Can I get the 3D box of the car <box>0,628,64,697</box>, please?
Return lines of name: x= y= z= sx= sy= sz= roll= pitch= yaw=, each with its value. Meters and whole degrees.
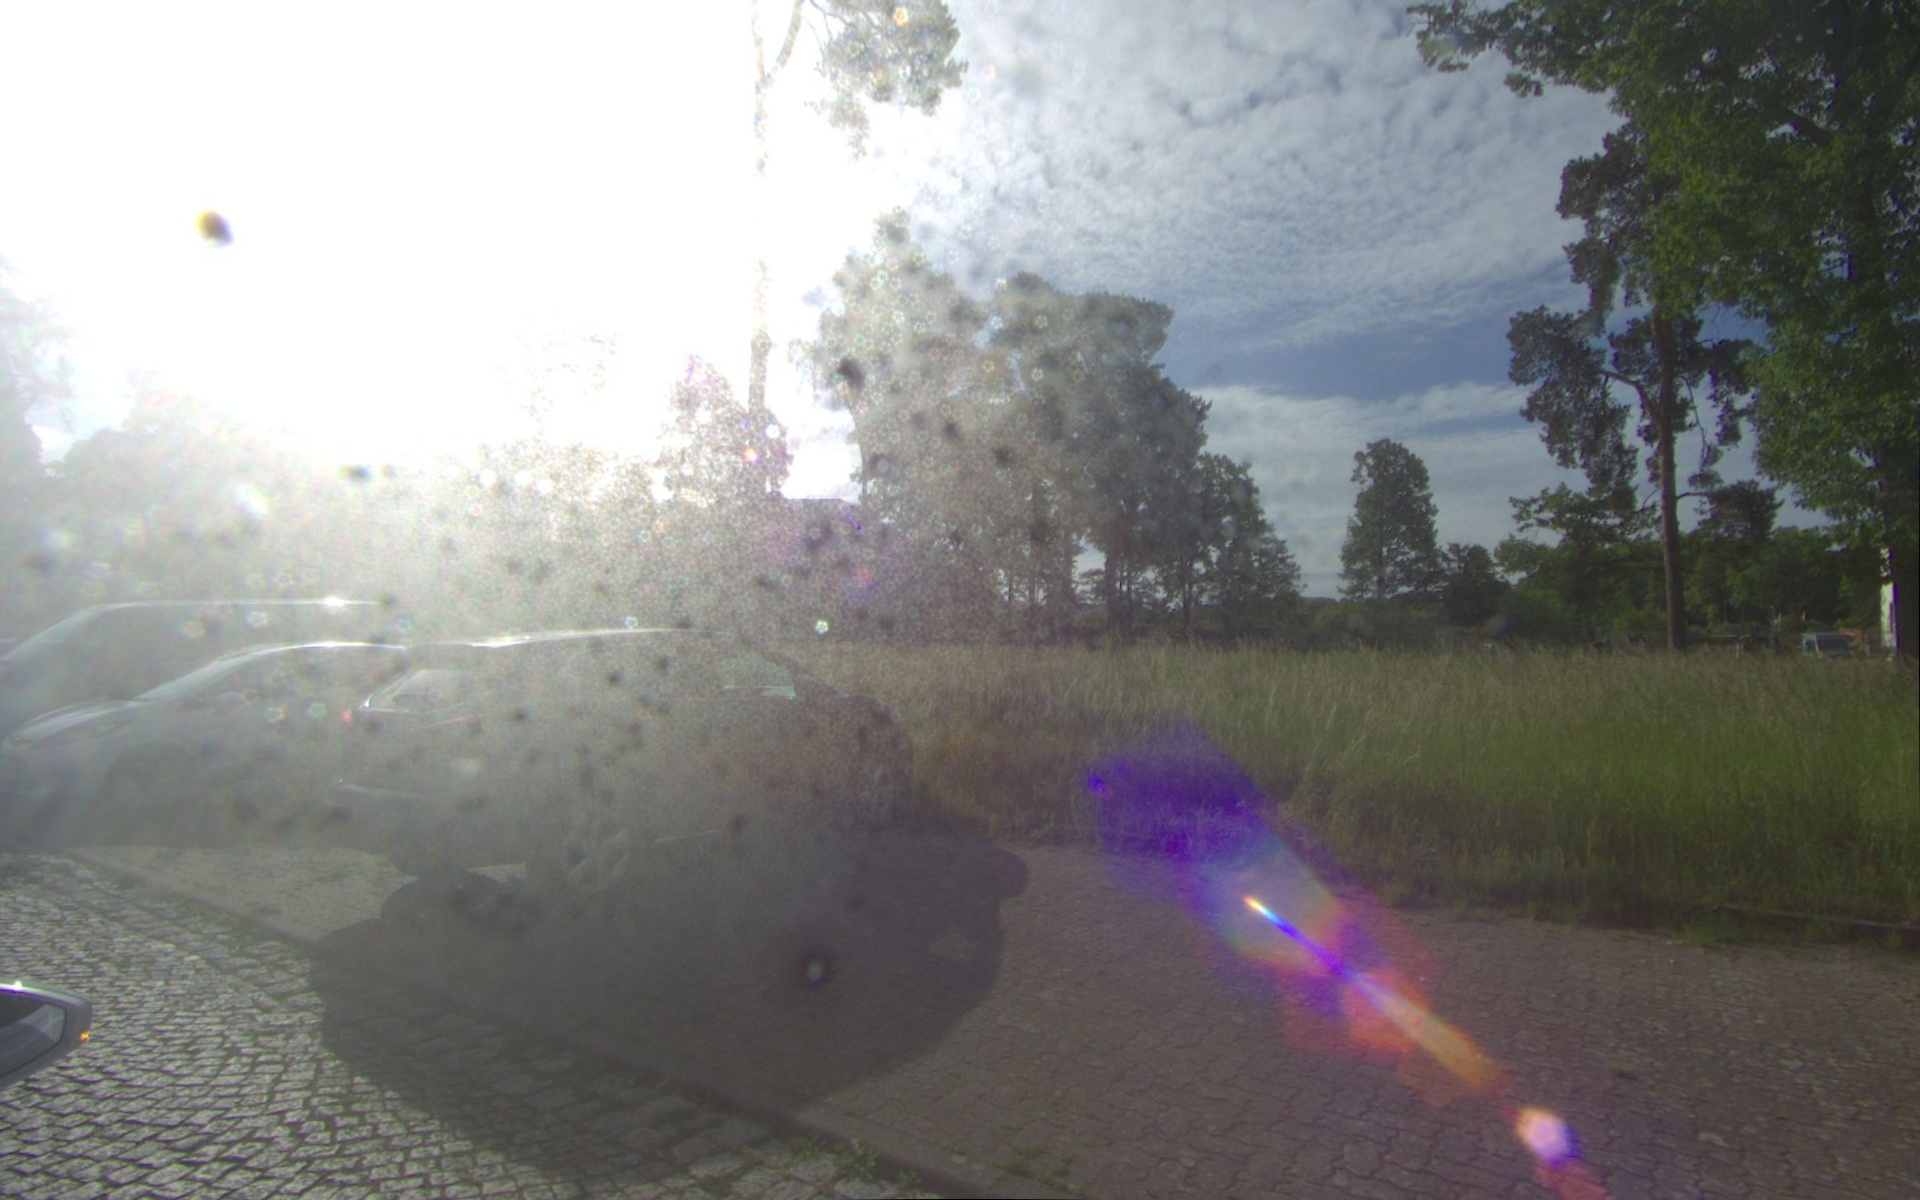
car: x=-22.299 y=1.365 z=21.459 sx=1.716 sy=1.492 sz=4.331 roll=-1 pitch=-2 yaw=33

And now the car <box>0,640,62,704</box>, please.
car: x=-20.582 y=1.456 z=19.806 sx=1.703 sy=1.277 sz=3.942 roll=-1 pitch=-2 yaw=34

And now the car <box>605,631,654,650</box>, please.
car: x=-29.632 y=3.626 z=89.744 sx=1.830 sy=1.700 sz=3.926 roll=-1 pitch=-3 yaw=32

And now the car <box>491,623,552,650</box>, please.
car: x=-43.005 y=3.585 z=98.325 sx=2.234 sy=2.567 sz=5.146 roll=-1 pitch=-3 yaw=35

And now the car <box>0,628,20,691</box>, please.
car: x=-24.333 y=1.371 z=22.445 sx=1.824 sy=1.492 sz=4.497 roll=-1 pitch=-2 yaw=33

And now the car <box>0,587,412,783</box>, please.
car: x=-9.468 y=0.879 z=11.996 sx=1.964 sy=1.954 sz=4.722 roll=-1 pitch=-1 yaw=33

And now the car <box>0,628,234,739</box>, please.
car: x=-13.653 y=1.208 z=15.232 sx=1.783 sy=1.550 sz=3.865 roll=-1 pitch=-2 yaw=34

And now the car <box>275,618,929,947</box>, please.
car: x=-2.162 y=0.968 z=7.188 sx=1.852 sy=1.609 sz=4.182 roll=-1 pitch=-2 yaw=33

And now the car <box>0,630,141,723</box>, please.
car: x=-16.224 y=1.253 z=16.457 sx=1.806 sy=1.486 sz=3.942 roll=-1 pitch=-2 yaw=34

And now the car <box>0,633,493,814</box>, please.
car: x=-7.396 y=1.113 z=10.636 sx=1.781 sy=1.488 sz=4.186 roll=-1 pitch=-2 yaw=30

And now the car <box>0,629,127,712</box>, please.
car: x=-18.247 y=1.298 z=18.618 sx=1.748 sy=1.514 sz=3.942 roll=-1 pitch=-2 yaw=34
